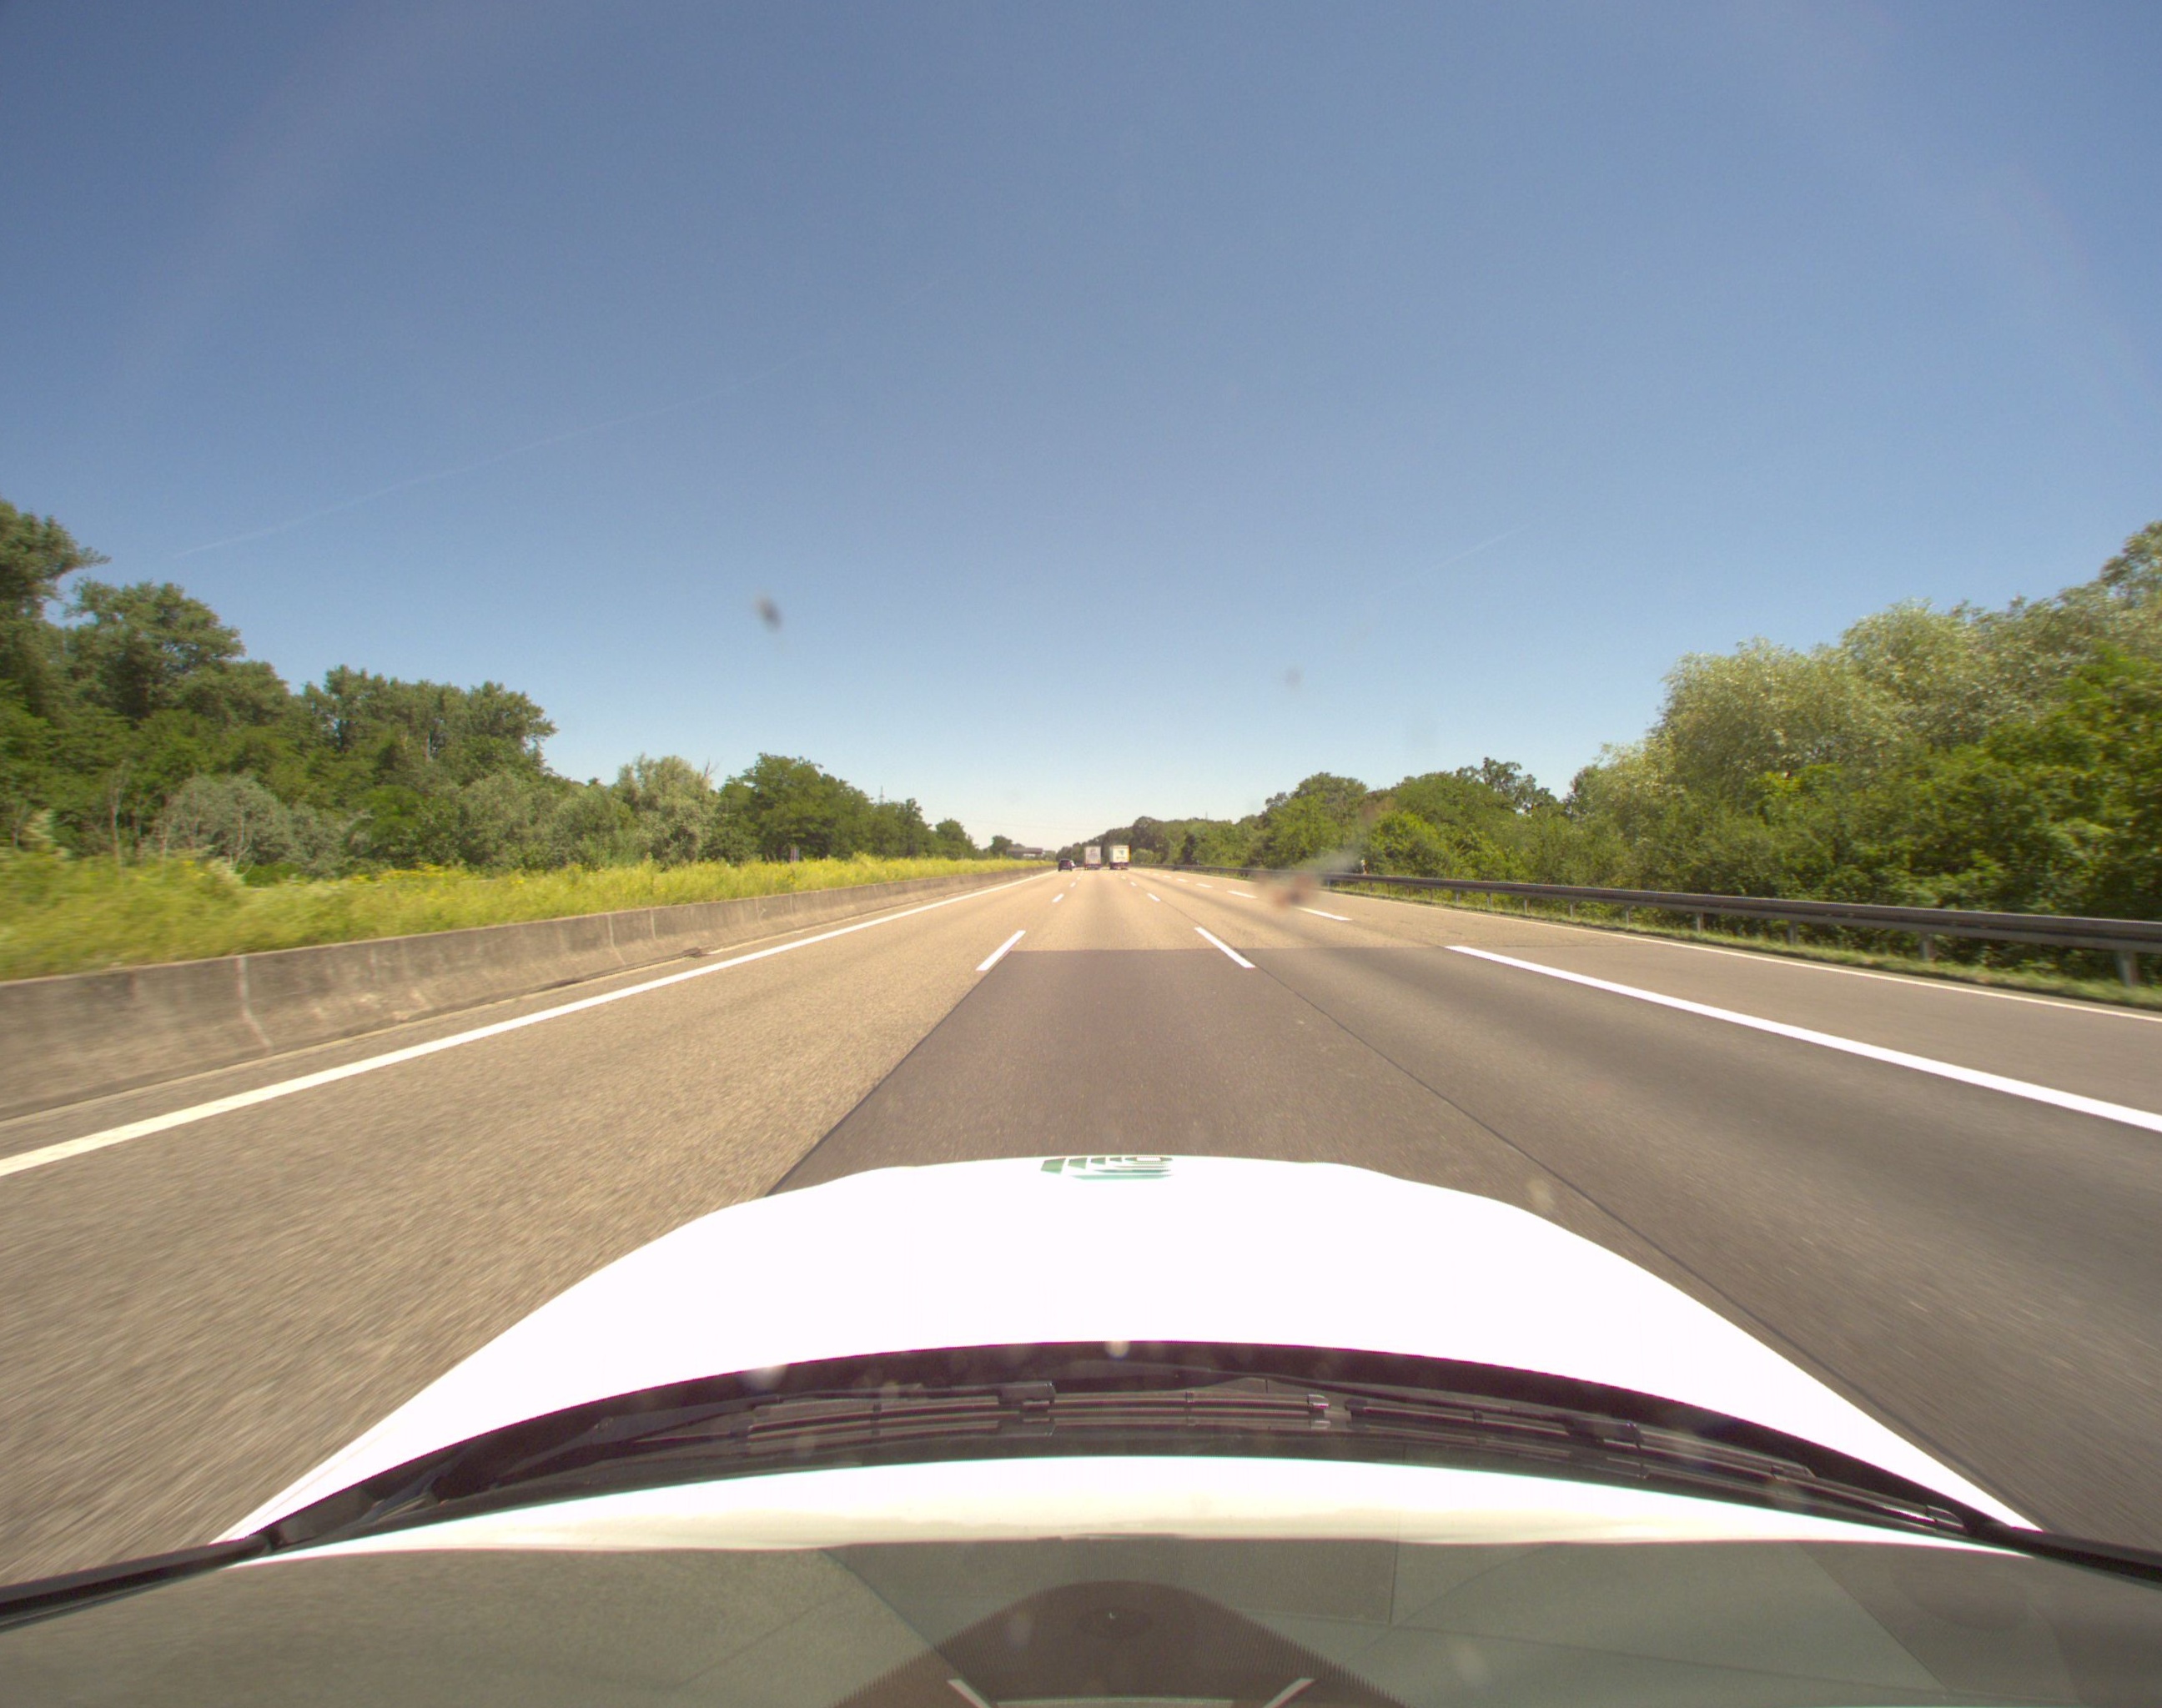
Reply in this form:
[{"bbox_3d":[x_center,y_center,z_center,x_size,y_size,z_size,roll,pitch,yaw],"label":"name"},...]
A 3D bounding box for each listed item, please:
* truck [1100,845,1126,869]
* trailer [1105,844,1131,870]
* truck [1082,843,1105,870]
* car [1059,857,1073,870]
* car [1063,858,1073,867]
[{"bbox_3d":[5.526,0.457,141.810,3.319,4.053,10.937,0,0,-4],"label":"truck"},{"bbox_3d":[6.001,0.493,133.911,3.360,4.142,9.081,0,0,-3],"label":"trailer"},{"bbox_3d":[2.031,0.412,133.808,3.221,4.202,8.458,0,0,-2],"label":"truck"},{"bbox_3d":[-2.200,1.391,117.913,1.988,1.874,3.997,0,0,-2],"label":"car"},{"bbox_3d":[-2.716,1.850,173.615,1.989,1.874,3.996,1,0,-3],"label":"car"}]
